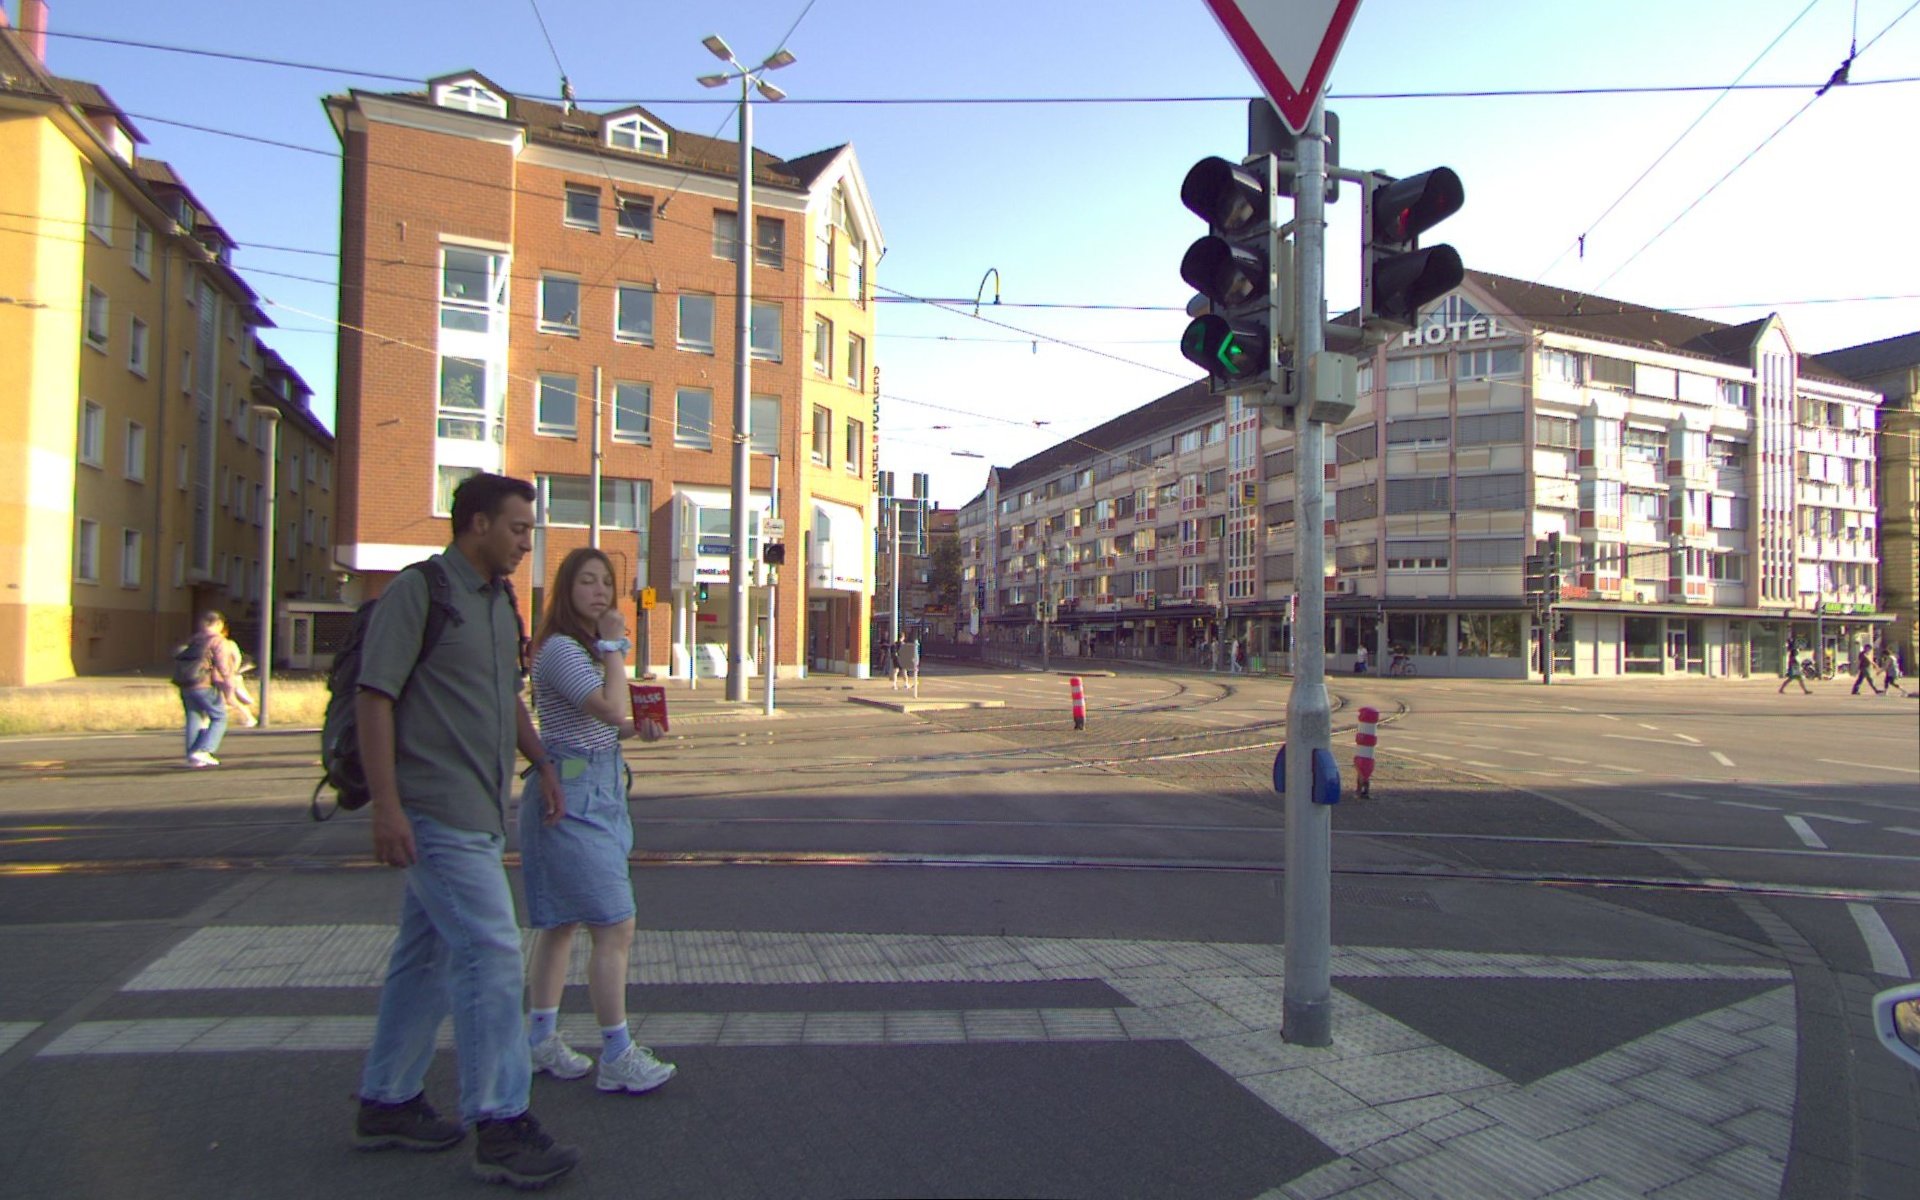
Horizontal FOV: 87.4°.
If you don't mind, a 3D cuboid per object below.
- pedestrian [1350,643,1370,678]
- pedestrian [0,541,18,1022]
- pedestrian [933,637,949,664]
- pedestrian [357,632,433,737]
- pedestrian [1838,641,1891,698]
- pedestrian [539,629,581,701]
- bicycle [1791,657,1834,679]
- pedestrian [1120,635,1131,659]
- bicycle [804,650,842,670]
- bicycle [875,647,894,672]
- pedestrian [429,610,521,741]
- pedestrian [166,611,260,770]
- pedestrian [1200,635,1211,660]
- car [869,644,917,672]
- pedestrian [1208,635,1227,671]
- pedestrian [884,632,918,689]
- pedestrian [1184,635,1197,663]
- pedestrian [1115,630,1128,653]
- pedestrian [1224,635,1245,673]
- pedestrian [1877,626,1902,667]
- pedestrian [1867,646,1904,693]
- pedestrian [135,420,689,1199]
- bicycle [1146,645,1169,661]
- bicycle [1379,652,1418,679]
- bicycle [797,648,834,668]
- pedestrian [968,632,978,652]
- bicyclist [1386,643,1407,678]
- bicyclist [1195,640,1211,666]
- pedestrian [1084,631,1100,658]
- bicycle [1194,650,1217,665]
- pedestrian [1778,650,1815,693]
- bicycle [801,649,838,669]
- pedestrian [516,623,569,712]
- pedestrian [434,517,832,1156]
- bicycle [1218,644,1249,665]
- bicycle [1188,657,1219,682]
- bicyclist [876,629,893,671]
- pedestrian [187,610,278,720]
[{"bbox_3d":[19.728,2.978,49.550,0.707,1.684,0.630,-1,-3,44],"label":"pedestrian"},{"bbox_3d":[-3.426,0.621,3.013,0.611,1.662,0.783,2,0,-25],"label":"pedestrian"},{"bbox_3d":[-1.157,3.051,60.630,0.686,1.599,0.613,2,-1,-43],"label":"pedestrian"},{"bbox_3d":[-7.732,1.157,13.773,0.584,1.377,0.609,2,-5,1],"label":"pedestrian"},{"bbox_3d":[31.922,2.445,35.451,0.845,1.909,1.190,-1,1,-27],"label":"pedestrian"},{"bbox_3d":[-9.139,1.471,22.942,0.829,1.605,0.680,2,-1,-22],"label":"pedestrian"},{"bbox_3d":[46.280,3.696,54.541,2.052,1.085,0.452,2,0,-6],"label":"bicycle"},{"bbox_3d":[12.752,3.635,77.456,0.804,1.802,0.680,2,0,7],"label":"pedestrian"},{"bbox_3d":[-6.903,3.018,50.720,1.809,0.974,0.541,1,0,-20],"label":"bicycle"},{"bbox_3d":[-3.513,2.738,46.567,0.624,1.062,1.833,2,-1,-12],"label":"bicycle"},{"bbox_3d":[-6.863,1.042,14.259,0.760,1.781,0.901,2,0,8],"label":"pedestrian"},{"bbox_3d":[-7.770,0.910,10.444,0.777,1.556,0.616,1,-1,43],"label":"pedestrian"},{"bbox_3d":[16.334,3.158,66.890,0.599,1.657,0.603,1,0,23],"label":"pedestrian"},{"bbox_3d":[-3.561,3.038,52.835,1.722,1.260,3.925,2,-1,-15],"label":"car"},{"bbox_3d":[12.774,2.630,49.807,0.613,1.717,0.865,1,-1,35],"label":"pedestrian"},{"bbox_3d":[-1.870,1.911,31.867,0.822,1.781,0.689,2,-1,-37],"label":"pedestrian"},{"bbox_3d":[15.941,3.396,69.490,0.600,1.877,0.602,2,0,-13],"label":"pedestrian"},{"bbox_3d":[12.090,3.073,75.096,0.740,1.666,0.549,2,0,-13],"label":"pedestrian"},{"bbox_3d":[13.184,2.575,48.275,0.998,1.787,0.504,2,-1,-43],"label":"pedestrian"},{"bbox_3d":[56.520,2.804,61.086,0.951,2.430,0.921,2,-1,-33],"label":"pedestrian"},{"bbox_3d":[31.147,2.344,33.806,0.843,1.483,0.684,1,-6,38],"label":"pedestrian"},{"bbox_3d":[-1.392,0.543,2.624,0.884,1.824,0.787,3,-2,31],"label":"pedestrian"},{"bbox_3d":[14.388,3.876,73.128,1.626,1.134,0.481,2,-1,-23],"label":"bicycle"},{"bbox_3d":[21.041,3.135,48.166,1.742,1.160,0.638,-1,0,-20],"label":"bicycle"},{"bbox_3d":[-7.551,3.020,52.400,1.809,0.973,0.541,2,-1,-20],"label":"bicycle"},{"bbox_3d":[1.375,4.499,107.975,0.827,2.040,0.775,2,0,-14],"label":"pedestrian"},{"bbox_3d":[20.892,2.906,48.107,0.648,1.618,0.638,-1,0,-19],"label":"bicyclist"},{"bbox_3d":[14.581,3.176,60.291,0.560,1.501,0.732,0,0,-30],"label":"bicyclist"},{"bbox_3d":[8.417,2.814,64.100,0.771,1.682,0.678,2,-1,-28],"label":"pedestrian"},{"bbox_3d":[15.945,3.712,65.307,0.493,0.929,2.071,2,-2,-17],"label":"bicycle"},{"bbox_3d":[29.432,2.513,35.331,0.845,1.472,0.702,2,-1,-27],"label":"pedestrian"},{"bbox_3d":[-7.192,3.018,51.492,1.809,0.973,0.541,2,-1,-20],"label":"bicycle"},{"bbox_3d":[-7.713,1.241,18.579,0.775,1.609,0.607,2,0,-13],"label":"pedestrian"},{"bbox_3d":[-1.023,0.618,3.193,0.885,1.662,0.786,1,-1,34],"label":"pedestrian"},{"bbox_3d":[16.988,3.392,62.476,0.718,1.243,2.324,2,-2,-17],"label":"bicycle"},{"bbox_3d":[14.602,4.157,60.293,0.577,1.385,2.078,0,0,-30],"label":"bicycle"},{"bbox_3d":[-3.521,2.308,46.660,0.624,1.904,0.809,2,0,-12],"label":"bicyclist"},{"bbox_3d":[-11.012,0.970,15.219,0.825,1.605,0.684,2,0,4],"label":"pedestrian"}]
